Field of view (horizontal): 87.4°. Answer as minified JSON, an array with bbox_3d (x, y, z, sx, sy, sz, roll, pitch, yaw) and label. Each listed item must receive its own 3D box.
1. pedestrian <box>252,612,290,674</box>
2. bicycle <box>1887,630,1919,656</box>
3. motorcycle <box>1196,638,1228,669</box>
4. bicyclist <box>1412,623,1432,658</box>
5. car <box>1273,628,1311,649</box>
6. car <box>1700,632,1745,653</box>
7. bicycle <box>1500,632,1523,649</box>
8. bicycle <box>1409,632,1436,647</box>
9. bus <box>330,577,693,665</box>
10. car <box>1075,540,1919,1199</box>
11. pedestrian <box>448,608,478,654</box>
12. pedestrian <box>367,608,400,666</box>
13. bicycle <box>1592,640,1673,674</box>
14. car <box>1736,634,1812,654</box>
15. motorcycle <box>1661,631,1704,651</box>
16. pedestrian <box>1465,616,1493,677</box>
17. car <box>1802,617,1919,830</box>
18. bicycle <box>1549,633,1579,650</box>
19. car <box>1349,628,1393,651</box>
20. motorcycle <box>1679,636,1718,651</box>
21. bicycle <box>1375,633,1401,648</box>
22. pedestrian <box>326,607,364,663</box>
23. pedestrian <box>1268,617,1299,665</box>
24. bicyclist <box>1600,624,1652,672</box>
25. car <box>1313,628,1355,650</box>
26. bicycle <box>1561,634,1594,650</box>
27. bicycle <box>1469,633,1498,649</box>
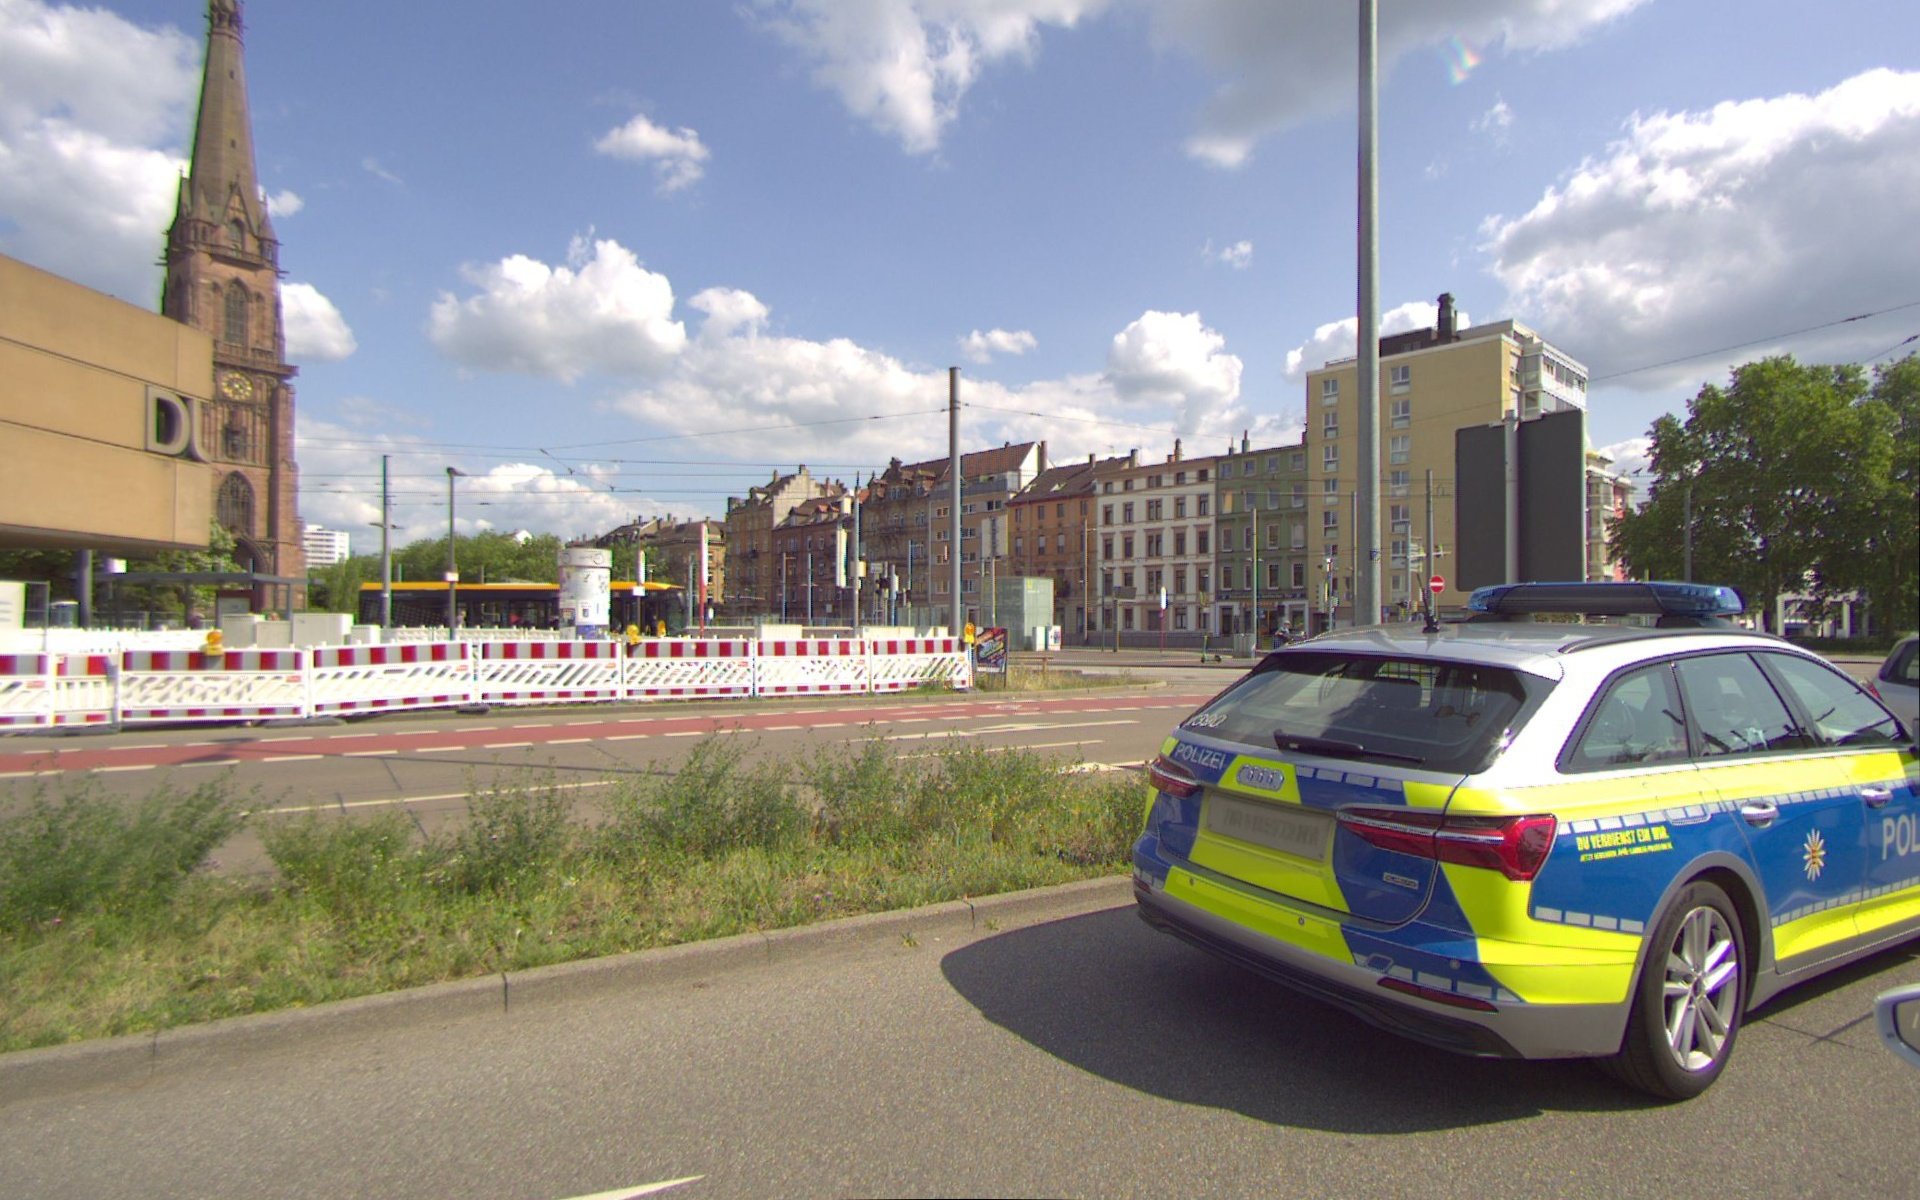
[{"bbox_3d":[-18.492,1.145,26.962,0.760,1.653,0.645,2,-1,-41],"label":"pedestrian"},{"bbox_3d":[54.442,2.442,57.379,0.807,1.433,2.146,0,0,-44],"label":"bicycle"},{"bbox_3d":[10.611,2.255,42.334,0.478,1.253,1.437,2,-2,-27],"label":"motorcycle"},{"bbox_3d":[24.480,2.142,53.251,0.768,1.821,0.706,2,0,42],"label":"bicyclist"},{"bbox_3d":[25.138,2.913,76.219,1.861,1.516,3.902,1,-2,4],"label":"car"},{"bbox_3d":[55.415,3.110,73.021,3.970,1.432,1.888,4,-4,-42],"label":"car"},{"bbox_3d":[40.705,2.976,74.110,1.791,1.275,0.789,1,-1,-34],"label":"bicycle"},{"bbox_3d":[35.632,3.029,77.376,1.783,1.118,0.792,0,-1,42],"label":"bicycle"},{"bbox_3d":[-16.878,0.805,38.338,12.585,3.177,2.835,0,-1,1],"label":"bus"},{"bbox_3d":[2.887,0.714,4.353,4.561,1.589,1.871,1,-2,-30],"label":"car"},{"bbox_3d":[-18.001,1.117,36.376,0.751,1.653,0.652,1,-1,-4],"label":"pedestrian"},{"bbox_3d":[-16.717,1.074,29.146,0.642,1.653,0.763,1,-1,-18],"label":"pedestrian"},{"bbox_3d":[24.669,2.084,36.875,0.984,1.204,2.281,2,-3,-32],"label":"bicycle"},{"bbox_3d":[59.024,3.175,72.902,1.615,1.344,3.967,3,-3,-31],"label":"car"},{"bbox_3d":[46.843,2.661,65.163,0.890,1.254,2.214,0,-1,-12],"label":"motorcycle"},{"bbox_3d":[16.882,1.485,32.669,0.753,1.928,0.825,2,0,29],"label":"pedestrian"},{"bbox_3d":[8.579,0.908,7.871,3.953,1.494,1.839,1,-1,-30],"label":"car"},{"bbox_3d":[43.545,2.974,72.413,1.784,1.162,0.792,0,-1,43],"label":"bicycle"},{"bbox_3d":[29.676,2.864,72.590,1.861,1.516,3.903,1,-2,5],"label":"car"},{"bbox_3d":[50.421,2.972,68.573,2.003,0.929,0.812,-1,-1,7],"label":"motorcycle"},{"bbox_3d":[33.769,3.199,79.240,1.783,1.118,0.792,0,-1,42],"label":"bicycle"},{"bbox_3d":[-18.254,1.035,29.815,0.640,1.653,0.765,1,-1,-4],"label":"pedestrian"},{"bbox_3d":[12.721,1.614,39.512,0.757,1.821,1.022,2,0,44],"label":"pedestrian"},{"bbox_3d":[24.554,1.764,37.057,0.984,1.753,1.290,2,-2,-32],"label":"bicyclist"},{"bbox_3d":[27.322,2.849,73.561,1.861,1.516,3.902,1,-2,4],"label":"car"},{"bbox_3d":[44.783,3.027,72.833,1.922,1.162,0.792,-1,-1,43],"label":"bicycle"},{"bbox_3d":[38.603,3.011,74.049,1.783,1.118,0.792,0,-1,42],"label":"bicycle"}]
